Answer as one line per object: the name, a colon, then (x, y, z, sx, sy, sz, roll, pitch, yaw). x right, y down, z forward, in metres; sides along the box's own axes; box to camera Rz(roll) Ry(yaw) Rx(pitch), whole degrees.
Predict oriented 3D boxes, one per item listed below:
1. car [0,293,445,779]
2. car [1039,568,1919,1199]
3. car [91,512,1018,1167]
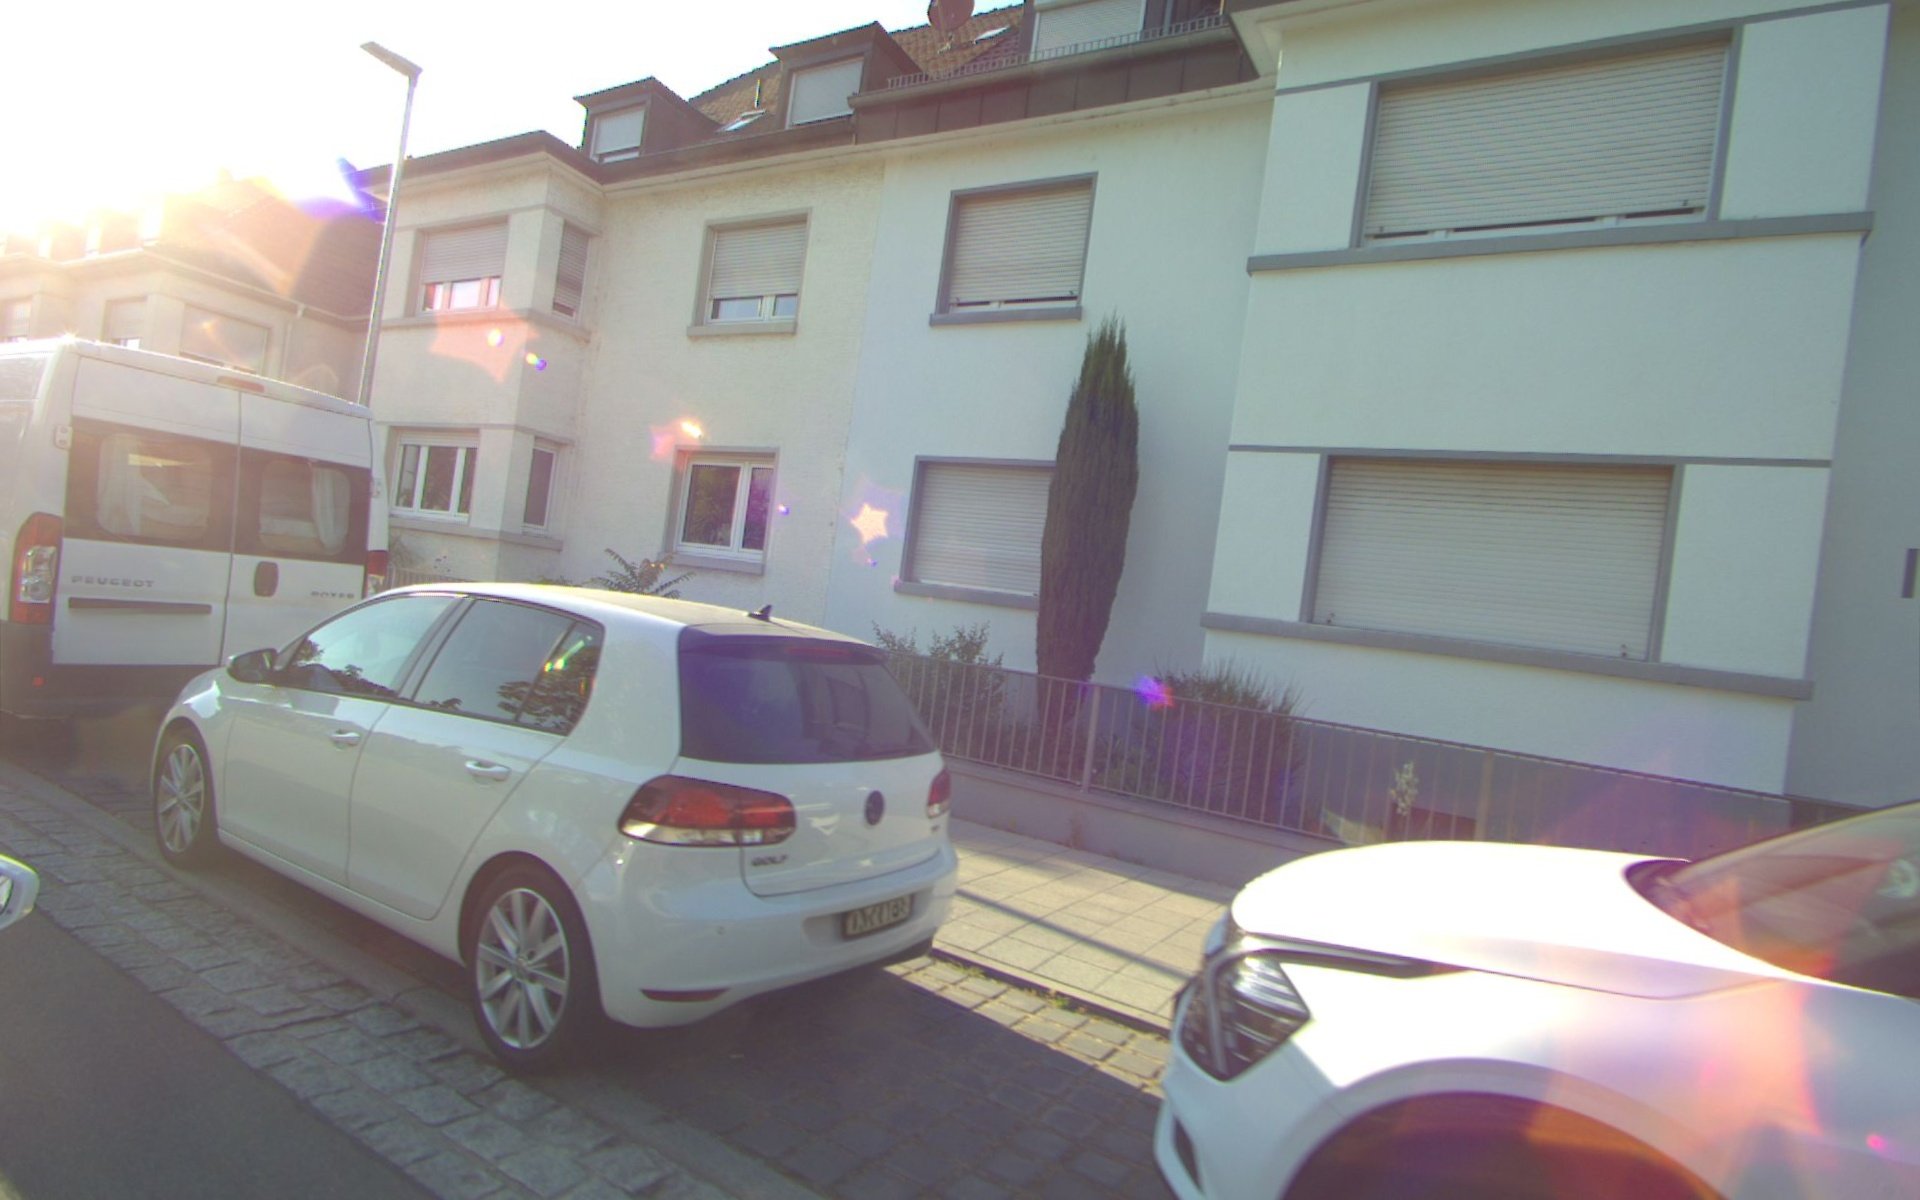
car: (-6.630, -0.519, 7.519, 5.415, 2.547, 2.134, 7, -2, 31)
car: (2.571, 1.067, 1.908, 4.404, 1.665, 1.781, 7, 0, 30)
car: (-1.971, 0.602, 4.417, 4.040, 1.500, 1.624, 7, 0, 33)
